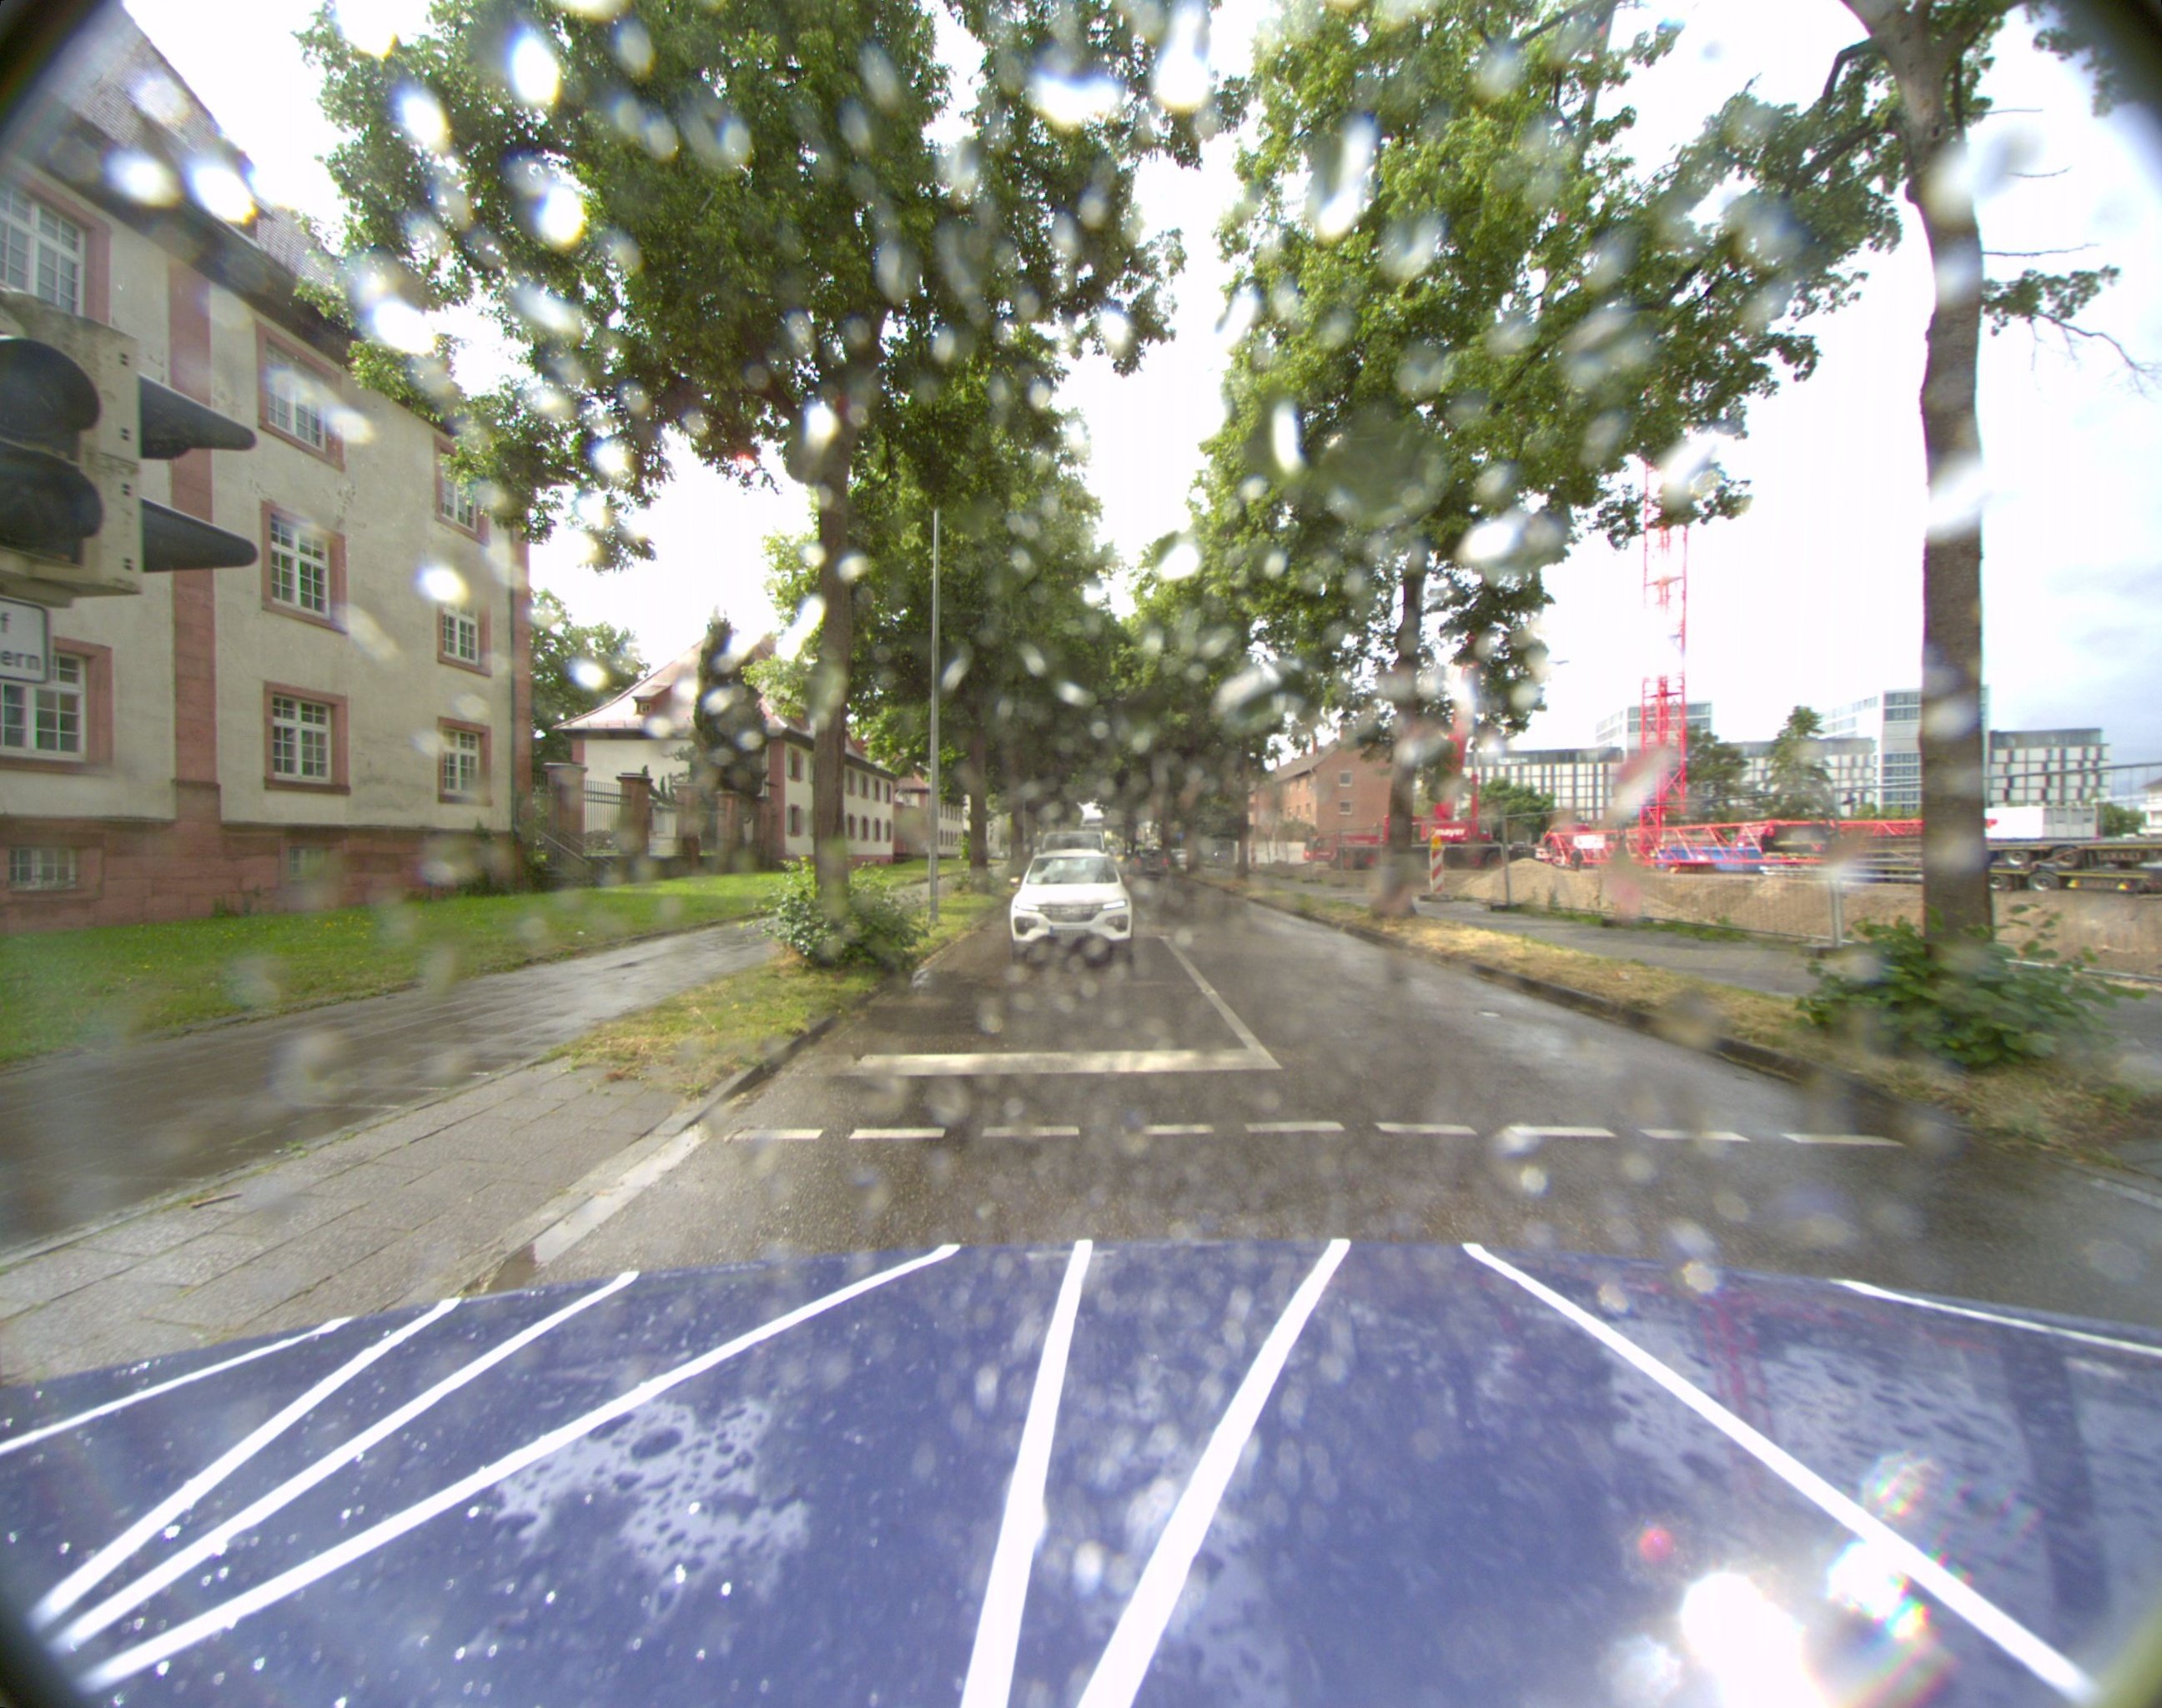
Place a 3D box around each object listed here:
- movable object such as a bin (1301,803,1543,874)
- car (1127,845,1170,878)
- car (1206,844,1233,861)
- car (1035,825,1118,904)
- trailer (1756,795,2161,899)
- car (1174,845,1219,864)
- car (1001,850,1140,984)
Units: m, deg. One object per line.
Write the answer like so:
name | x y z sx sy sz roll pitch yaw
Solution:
movable object such as a bin | 24.574 -1.136 55.422 15.941 4.533 3.101 -2 2 4
car | 3.212 0.369 36.831 1.818 1.531 3.983 0 -1 1
car | 13.548 -0.150 74.506 1.693 1.521 3.998 -2 1 -2
car | -0.204 0.219 22.558 2.107 1.990 5.432 -2 1 -2
trailer | 35.653 -0.428 31.266 2.968 3.215 14.306 -4 1 0
car | 10.503 0.018 69.356 3.868 1.543 1.698 -2 2 5
car | -0.102 0.730 10.934 1.608 1.499 3.999 -1 1 1
